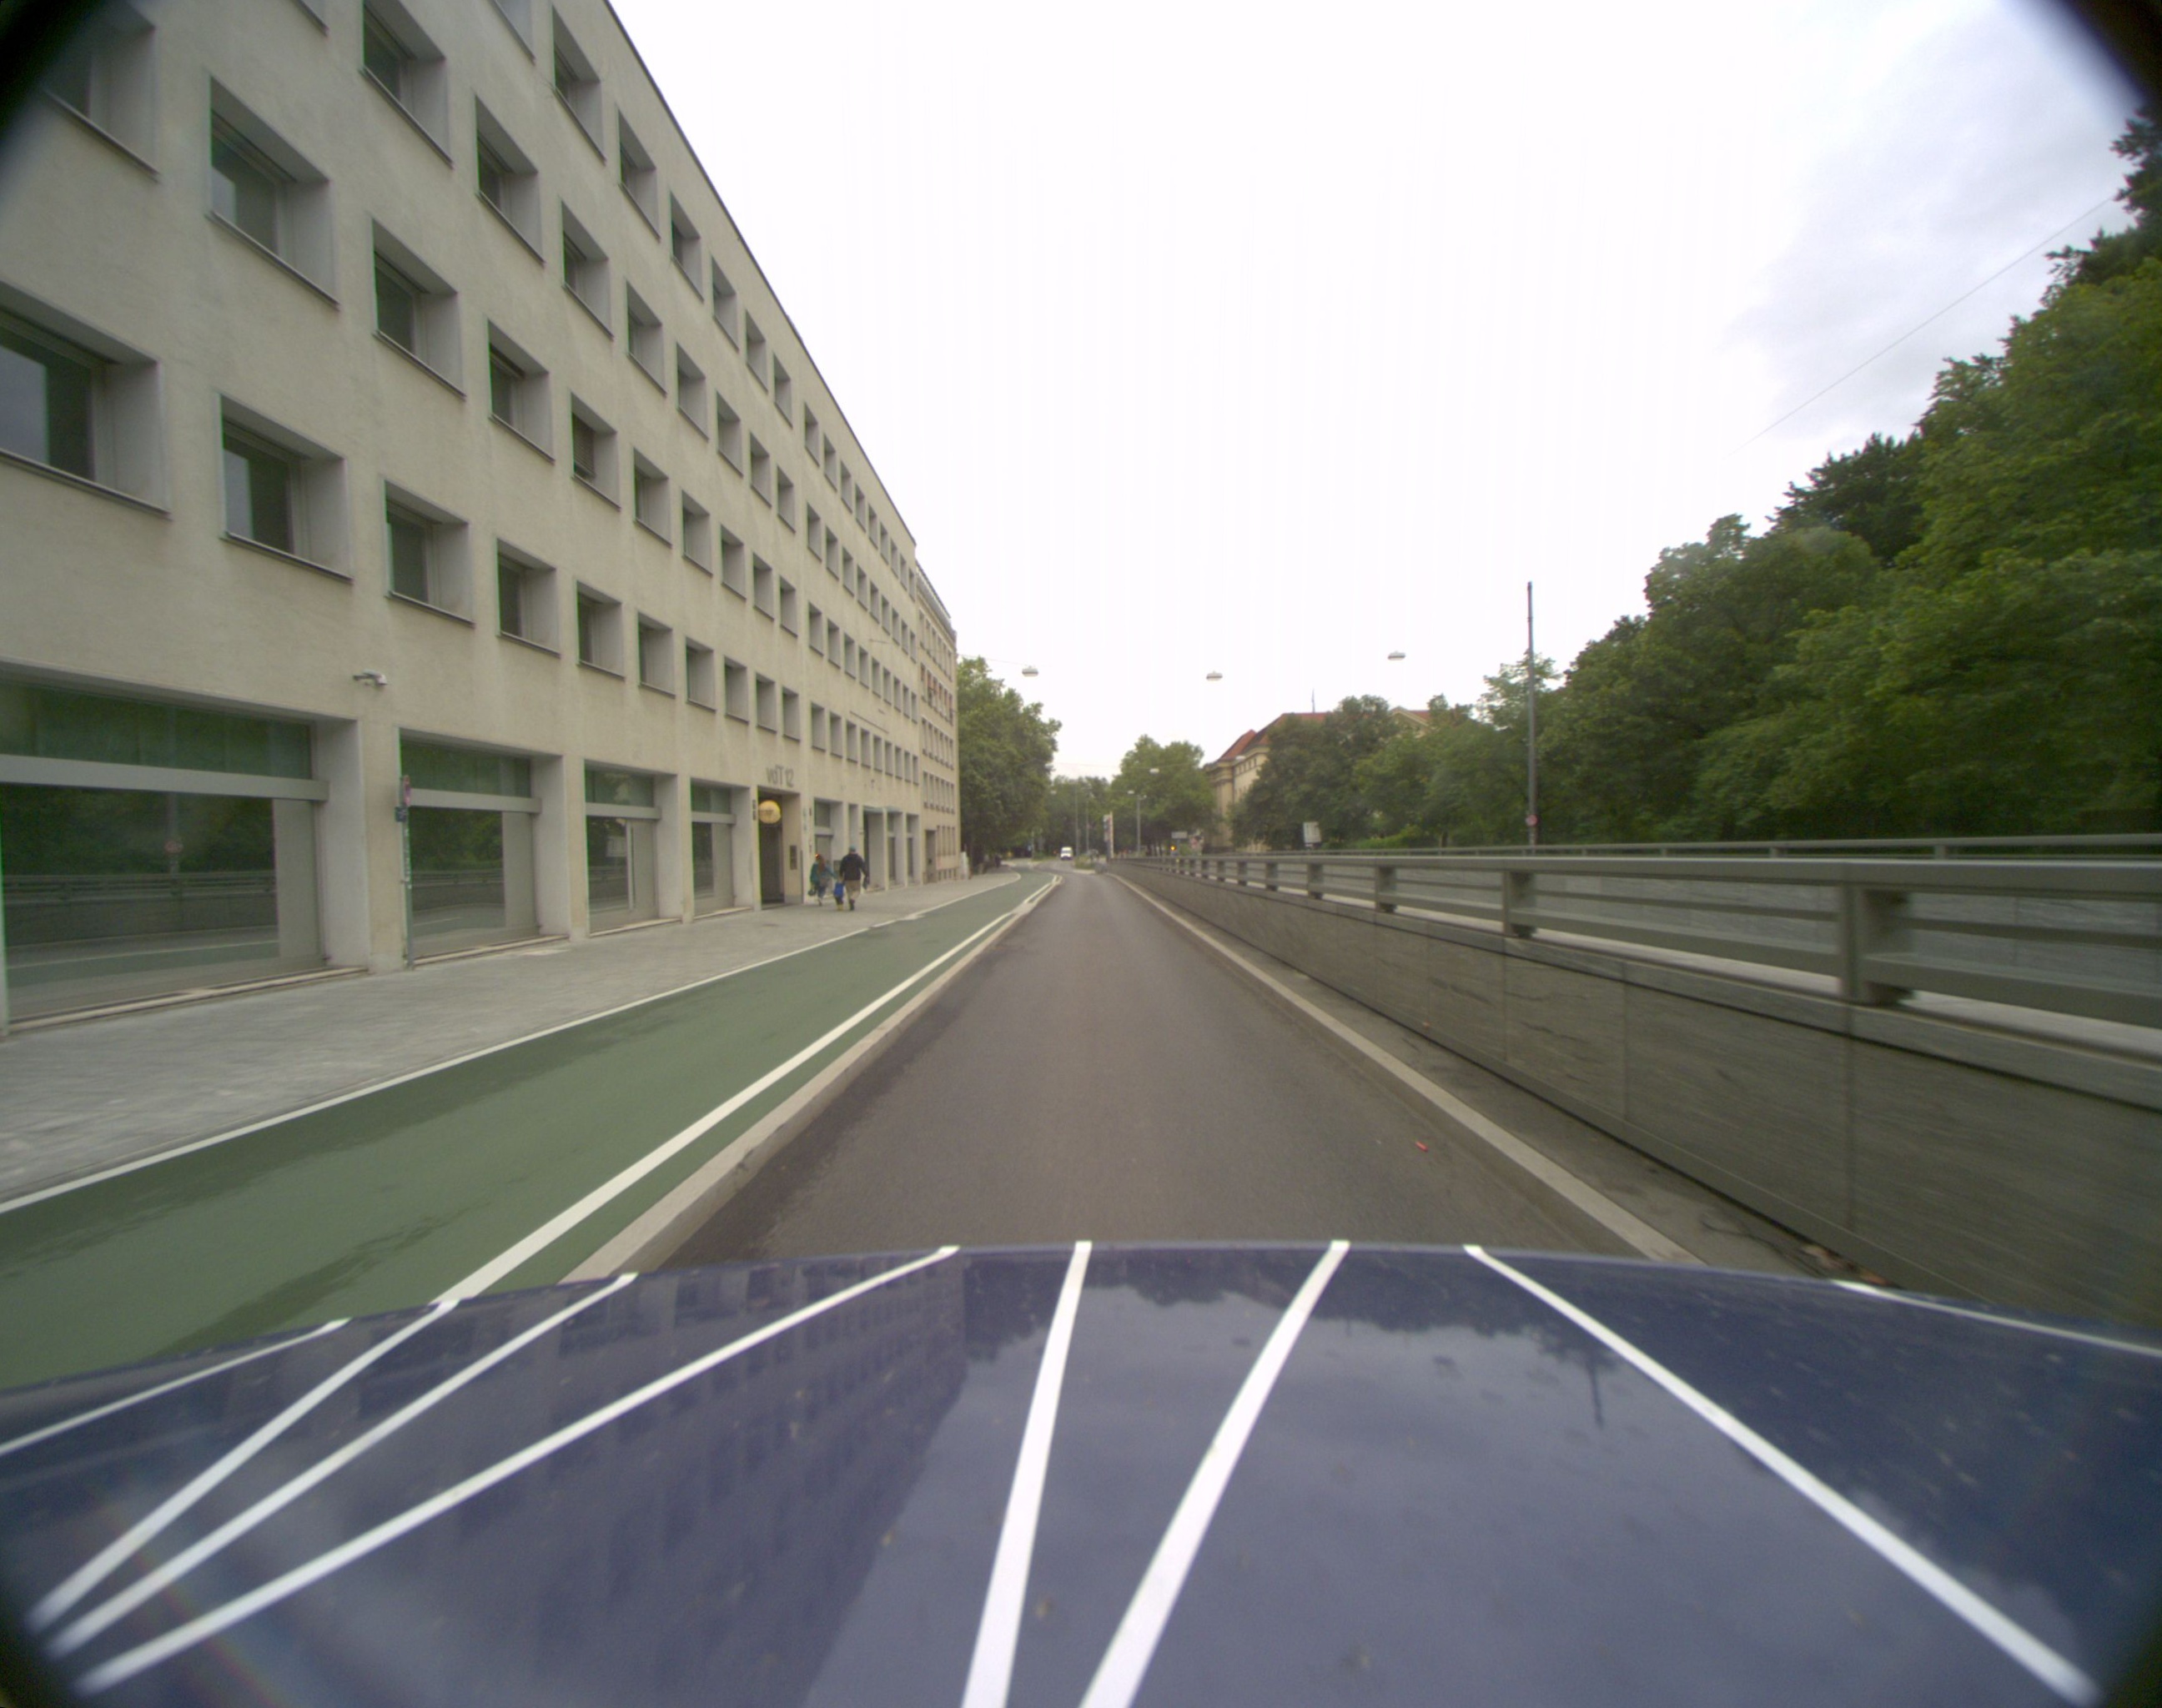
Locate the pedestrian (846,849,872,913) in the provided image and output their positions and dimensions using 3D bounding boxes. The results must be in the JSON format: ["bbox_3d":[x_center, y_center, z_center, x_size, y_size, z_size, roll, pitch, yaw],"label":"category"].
[{"bbox_3d":[-6.472,0.781,22.182,0.514,1.825,0.602,2,1,1],"label":"pedestrian"}]

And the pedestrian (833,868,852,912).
[{"bbox_3d":[-6.969,1.057,22.235,0.368,1.239,0.470,2,1,1],"label":"pedestrian"}]

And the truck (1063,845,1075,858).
[{"bbox_3d":[-2.409,-0.481,155.995,2.057,2.625,4.413,-2,1,4],"label":"truck"}]

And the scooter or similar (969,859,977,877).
[{"bbox_3d":[-7.903,0.997,55.588,0.387,1.265,1.119,2,2,0],"label":"scooter or similar"}]

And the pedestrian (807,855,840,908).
[{"bbox_3d":[-8.067,0.848,23.815,0.754,1.610,0.704,2,1,1],"label":"pedestrian"}]
